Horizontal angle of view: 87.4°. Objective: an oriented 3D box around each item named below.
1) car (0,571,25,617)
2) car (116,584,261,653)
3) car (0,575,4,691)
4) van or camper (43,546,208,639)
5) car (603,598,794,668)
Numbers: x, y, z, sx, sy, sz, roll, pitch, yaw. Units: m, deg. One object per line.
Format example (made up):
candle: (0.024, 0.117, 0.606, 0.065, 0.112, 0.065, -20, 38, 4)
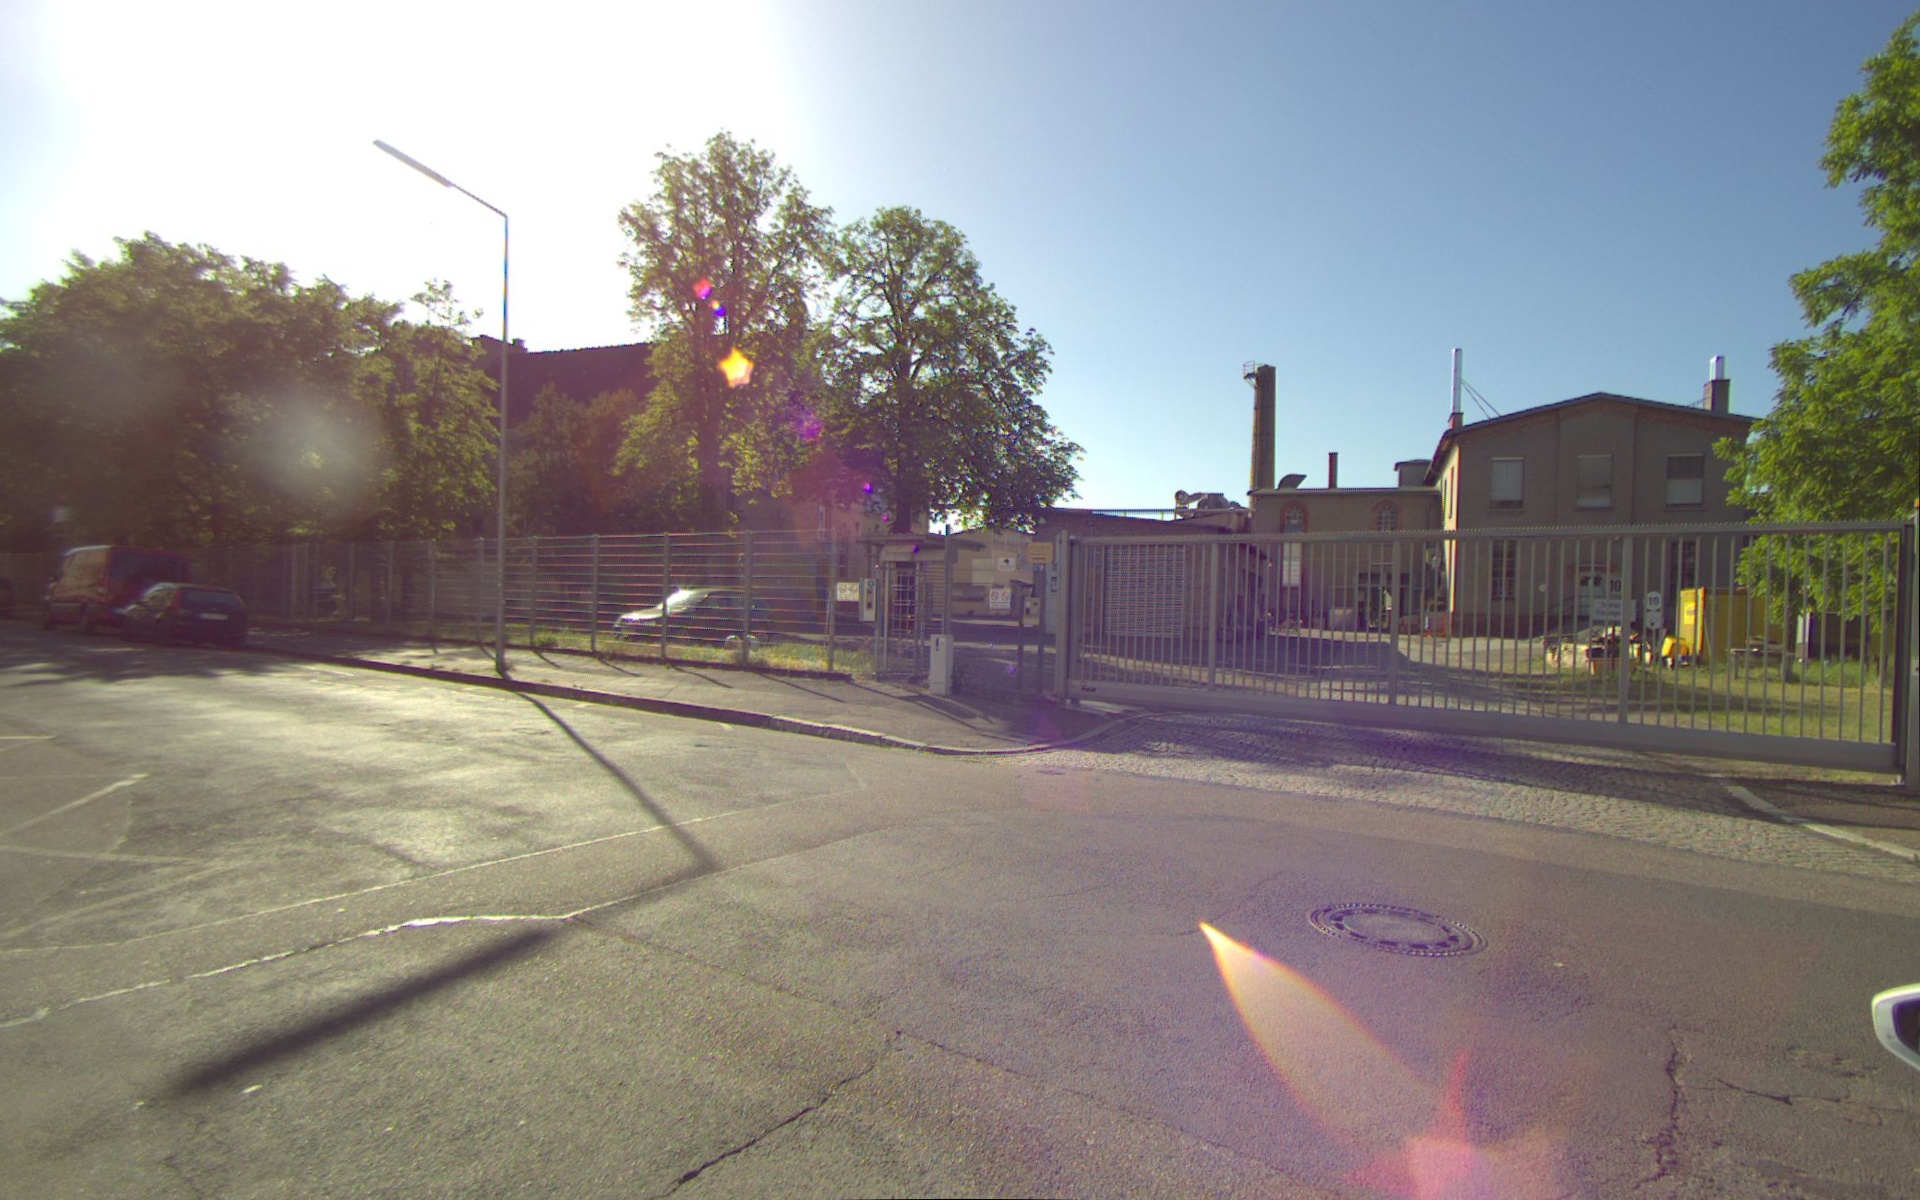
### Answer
car: (-37.519, -0.288, 38.522, 3.934, 1.706, 1.647, 2, 0, 36)
car: (-18.267, 0.388, 23.747, 3.934, 1.436, 1.647, 2, 0, 36)
car: (-15.180, 0.379, 13.944, 3.934, 1.574, 2.064, 2, 0, 36)
van or camper: (-22.790, -0.244, 27.373, 5.223, 2.311, 2.206, 2, 1, 36)
car: (-6.034, 0.745, 23.529, 1.967, 1.439, 3.987, 2, 0, 35)
